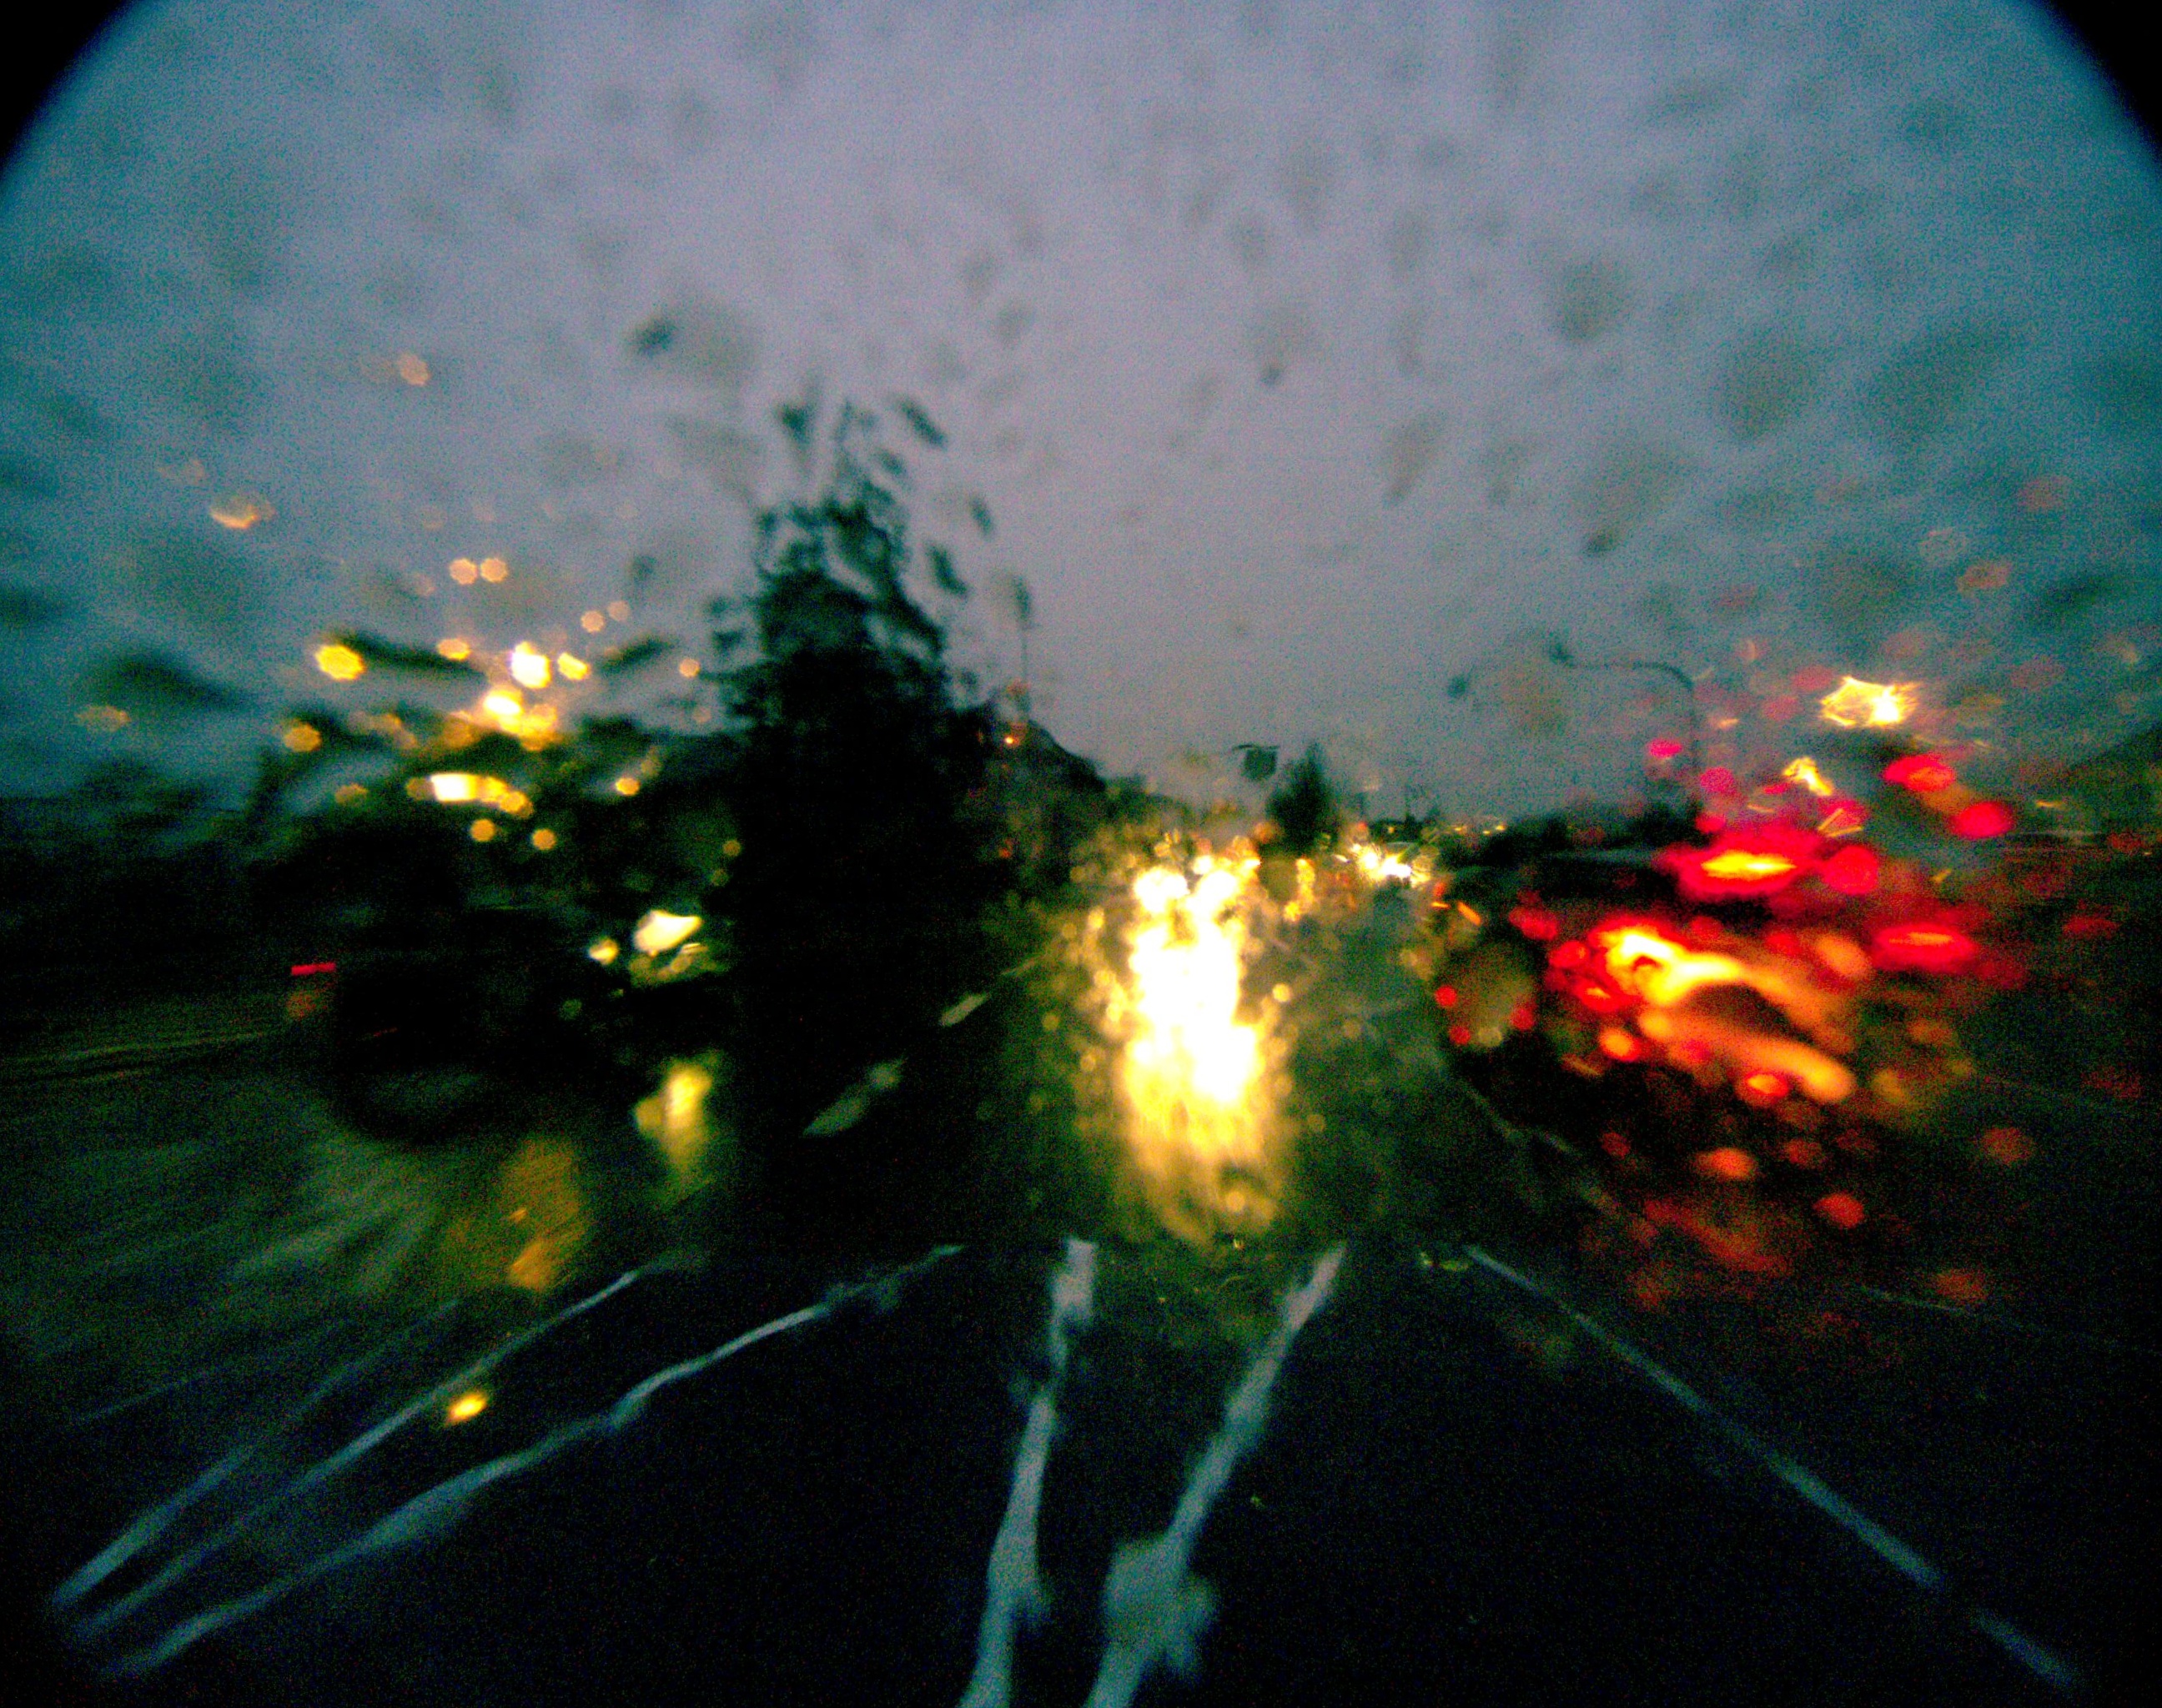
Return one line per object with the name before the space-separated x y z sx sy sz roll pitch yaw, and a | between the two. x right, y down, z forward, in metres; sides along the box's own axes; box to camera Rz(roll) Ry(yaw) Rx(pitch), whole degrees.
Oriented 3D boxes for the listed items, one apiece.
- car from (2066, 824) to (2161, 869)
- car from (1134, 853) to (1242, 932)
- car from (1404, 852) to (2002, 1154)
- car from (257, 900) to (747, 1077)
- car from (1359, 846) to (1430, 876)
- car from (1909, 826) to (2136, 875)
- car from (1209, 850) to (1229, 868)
car | 38.154 -0.287 26.288 1.890 1.528 4.649 -2 1 -9
car | 2.712 0.835 18.310 1.773 1.632 4.427 -2 0 18
car | 3.982 0.763 5.860 1.666 1.477 4.002 -2 0 7
car | -6.464 1.452 8.970 4.183 1.432 1.797 -4 -1 -7
car | 17.274 0.396 41.802 4.007 1.464 1.995 -2 0 -42
car | 32.587 -0.133 26.562 1.688 1.528 4.781 -2 1 -9
car | 14.547 0.508 79.784 1.946 1.795 4.176 -2 0 11
